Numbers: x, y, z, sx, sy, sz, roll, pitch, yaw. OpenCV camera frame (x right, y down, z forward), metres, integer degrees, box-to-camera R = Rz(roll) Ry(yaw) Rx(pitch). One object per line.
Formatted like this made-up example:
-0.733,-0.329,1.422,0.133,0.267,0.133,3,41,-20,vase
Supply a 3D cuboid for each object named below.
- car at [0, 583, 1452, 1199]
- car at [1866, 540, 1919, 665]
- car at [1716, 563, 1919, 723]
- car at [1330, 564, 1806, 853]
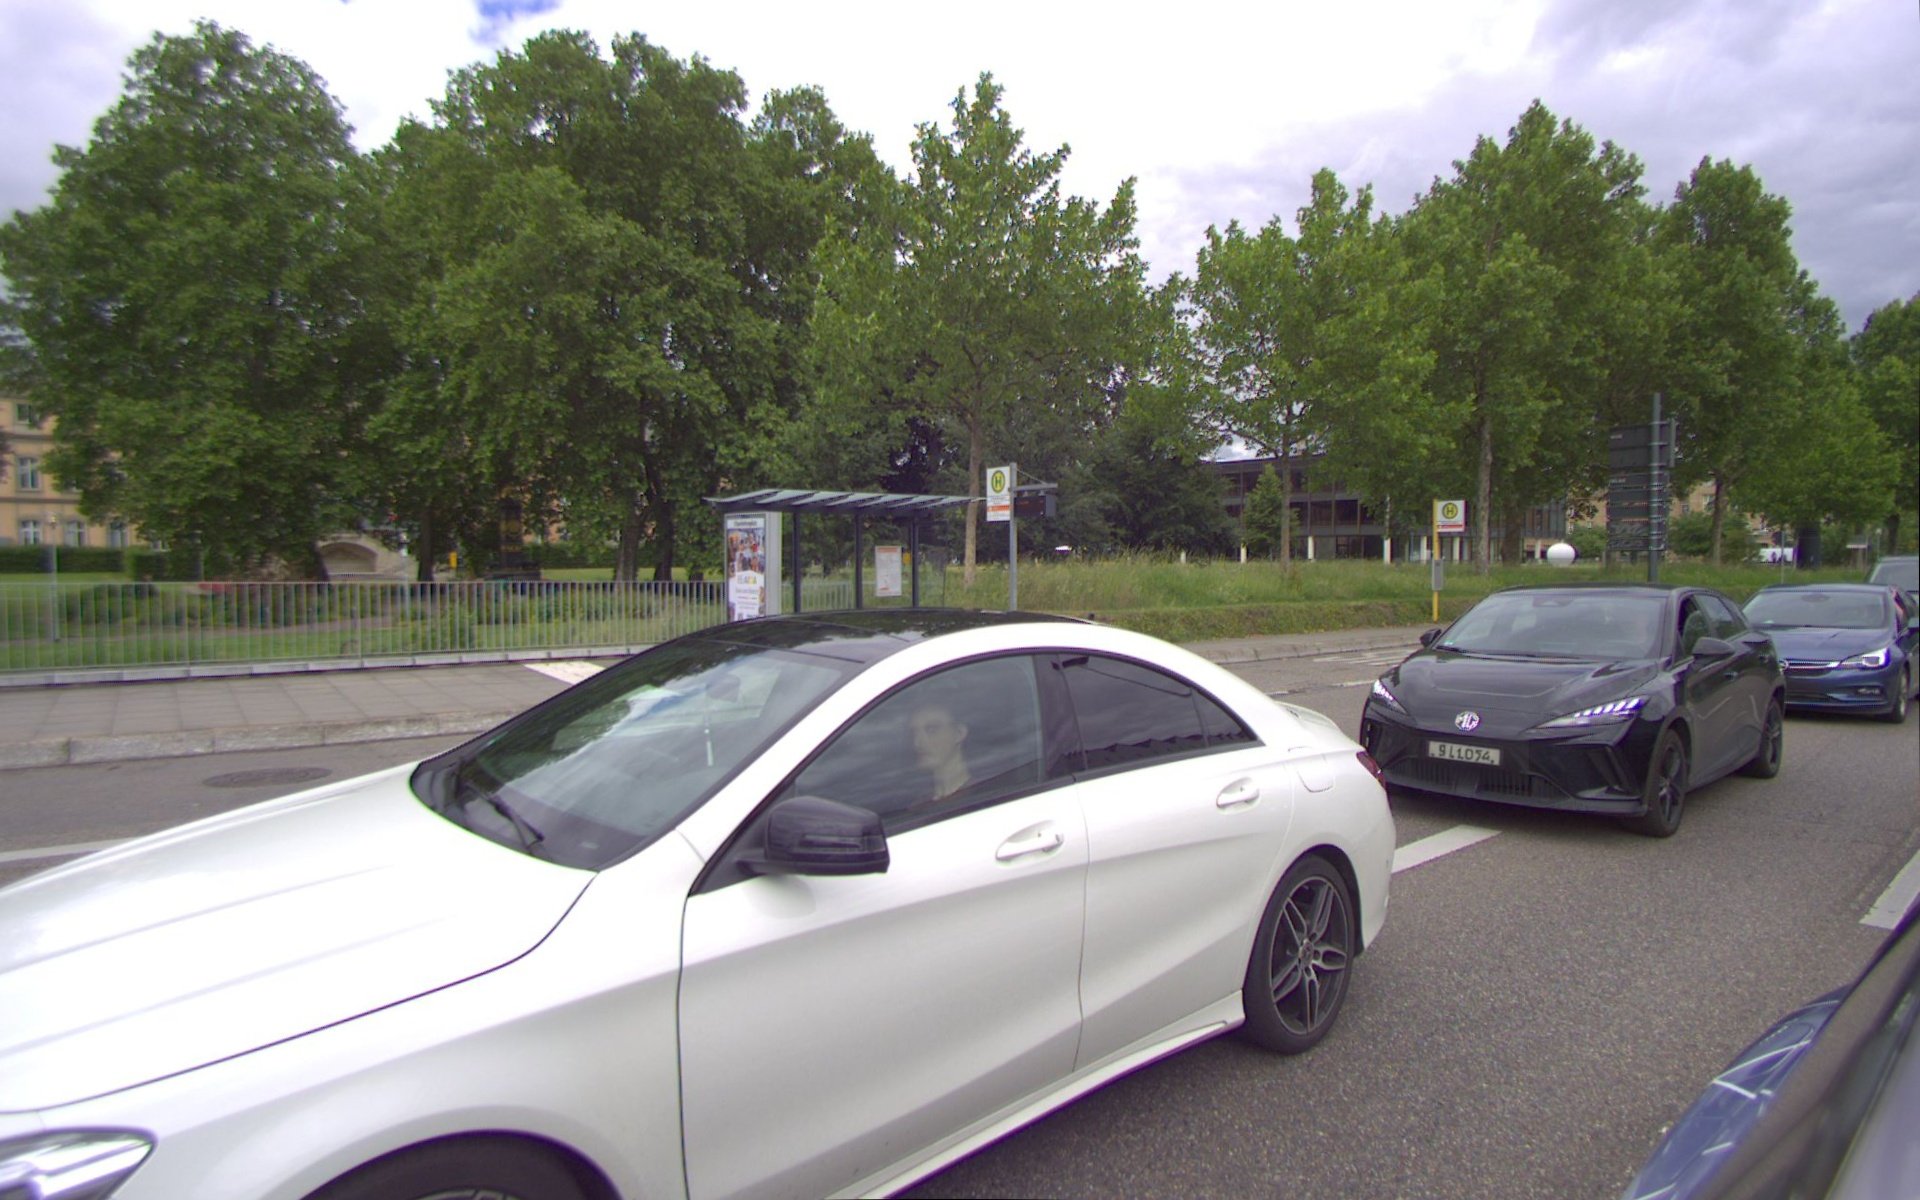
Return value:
-0.354,0.687,3.071,4.427,1.441,1.722,-1,1,-41,car
16.216,0.001,16.416,4.353,1.885,1.722,-1,1,-41,car
10.270,0.372,11.705,3.930,1.556,1.572,-1,1,-40,car
4.606,0.552,7.422,4.047,1.543,1.828,0,1,-41,car
